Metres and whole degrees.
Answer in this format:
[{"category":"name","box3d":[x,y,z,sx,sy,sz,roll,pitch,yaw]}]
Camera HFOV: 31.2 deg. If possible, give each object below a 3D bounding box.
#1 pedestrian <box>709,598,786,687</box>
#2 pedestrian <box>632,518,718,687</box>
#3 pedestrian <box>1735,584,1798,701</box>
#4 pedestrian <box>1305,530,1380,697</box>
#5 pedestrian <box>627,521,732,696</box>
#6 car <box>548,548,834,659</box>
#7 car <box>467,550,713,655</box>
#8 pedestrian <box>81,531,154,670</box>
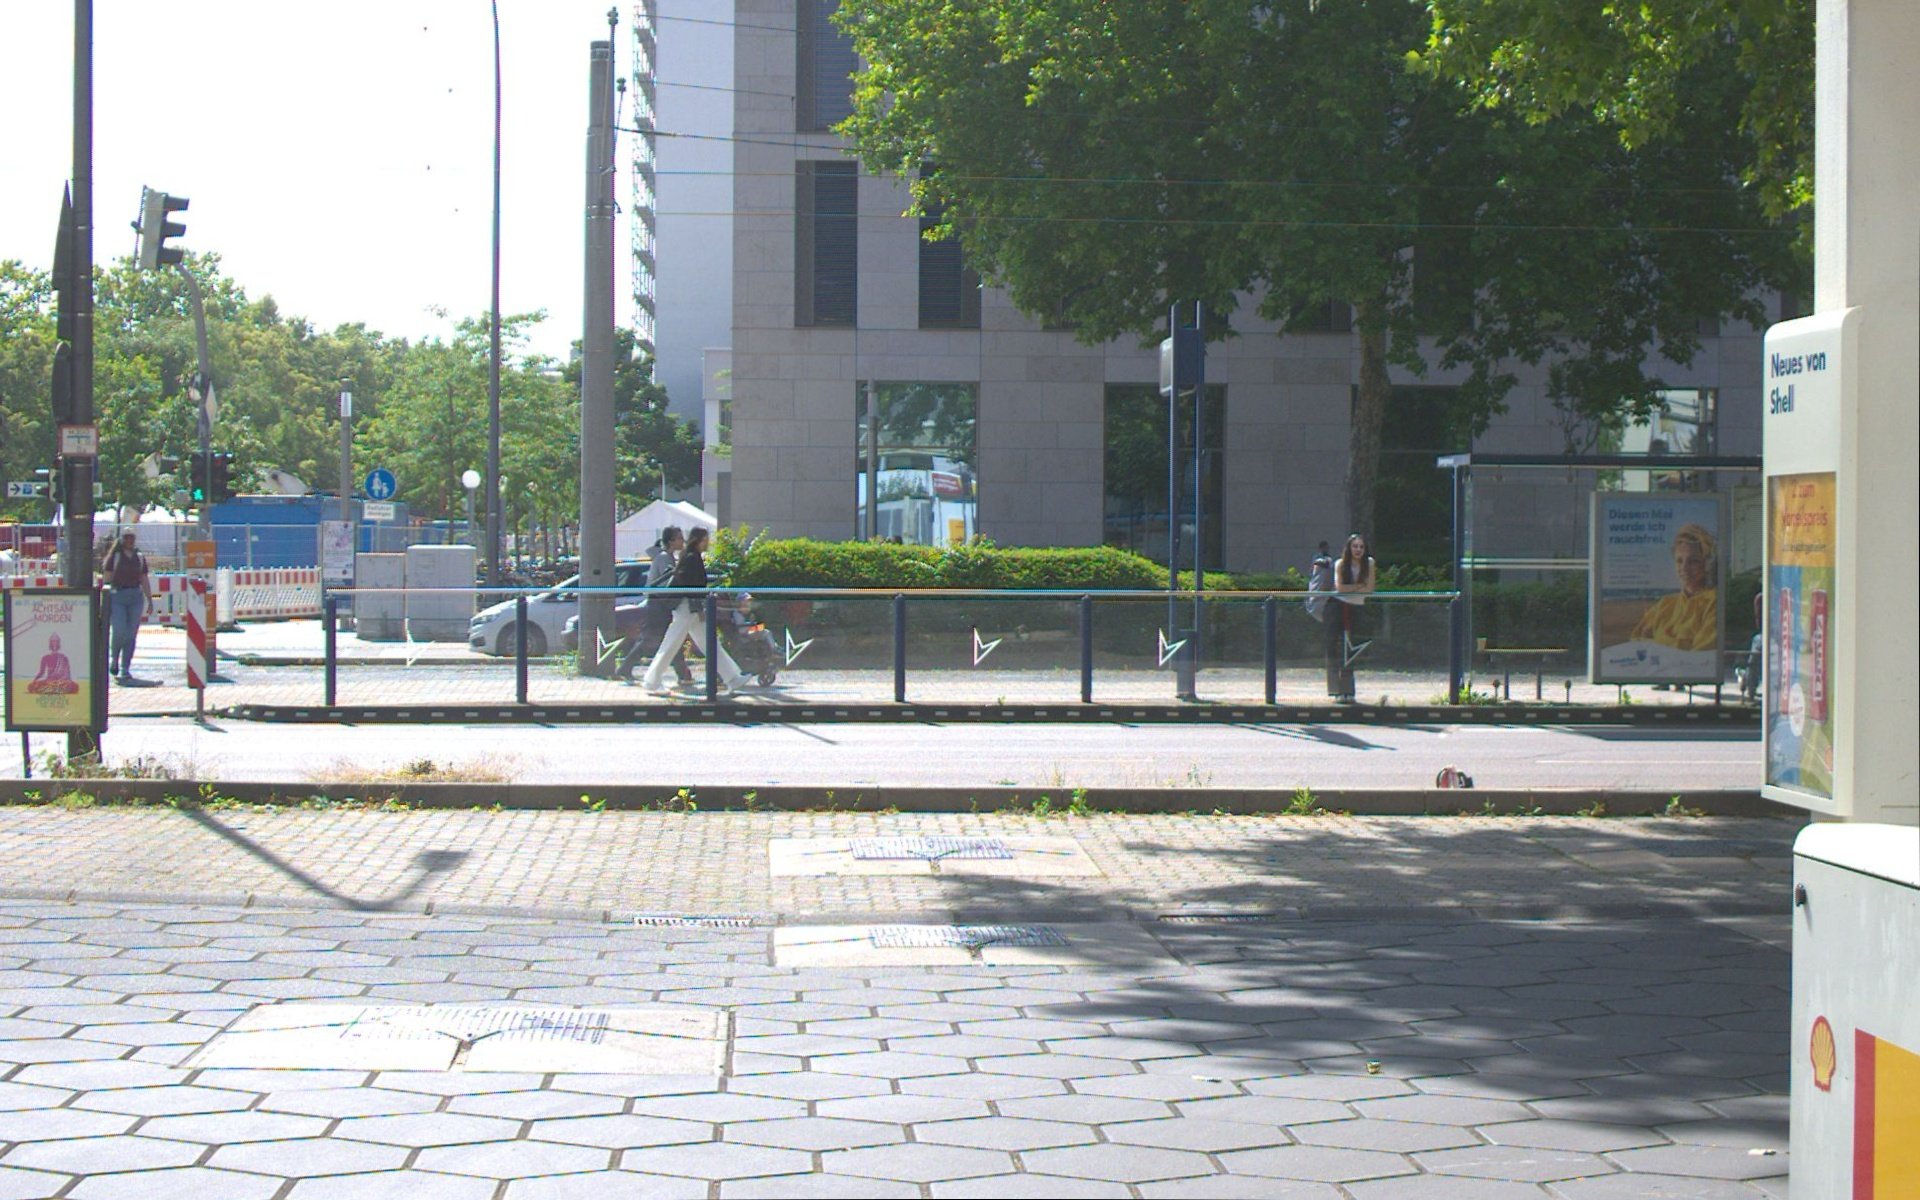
[{"category":"pedestrian","box3d":[-2.127,0.422,34.443,0.690,0.877,0.503,1,1,6]},{"category":"pedestrian","box3d":[-2.858,0.018,34.513,0.777,1.677,0.503,1,1,6]},{"category":"pedestrian","box3d":[7.908,0.411,33.721,0.499,1.134,0.524,1,1,3]},{"category":"pedestrian","box3d":[3.706,0.122,33.351,0.584,1.586,0.670,0,2,-4]},{"category":"pedestrian","box3d":[-2.723,0.072,33.391,0.932,1.677,0.503,1,1,6]},{"category":"car","box3d":[-3.904,0.041,49.565,3.986,1.546,1.704,0,1,-8]},{"category":"car","box3d":[-5.680,0.026,52.604,3.681,1.546,1.592,0,1,-8]},{"category":"pedestrian","box3d":[-9.383,0.001,38.275,0.650,1.535,0.503,1,1,6]}]
